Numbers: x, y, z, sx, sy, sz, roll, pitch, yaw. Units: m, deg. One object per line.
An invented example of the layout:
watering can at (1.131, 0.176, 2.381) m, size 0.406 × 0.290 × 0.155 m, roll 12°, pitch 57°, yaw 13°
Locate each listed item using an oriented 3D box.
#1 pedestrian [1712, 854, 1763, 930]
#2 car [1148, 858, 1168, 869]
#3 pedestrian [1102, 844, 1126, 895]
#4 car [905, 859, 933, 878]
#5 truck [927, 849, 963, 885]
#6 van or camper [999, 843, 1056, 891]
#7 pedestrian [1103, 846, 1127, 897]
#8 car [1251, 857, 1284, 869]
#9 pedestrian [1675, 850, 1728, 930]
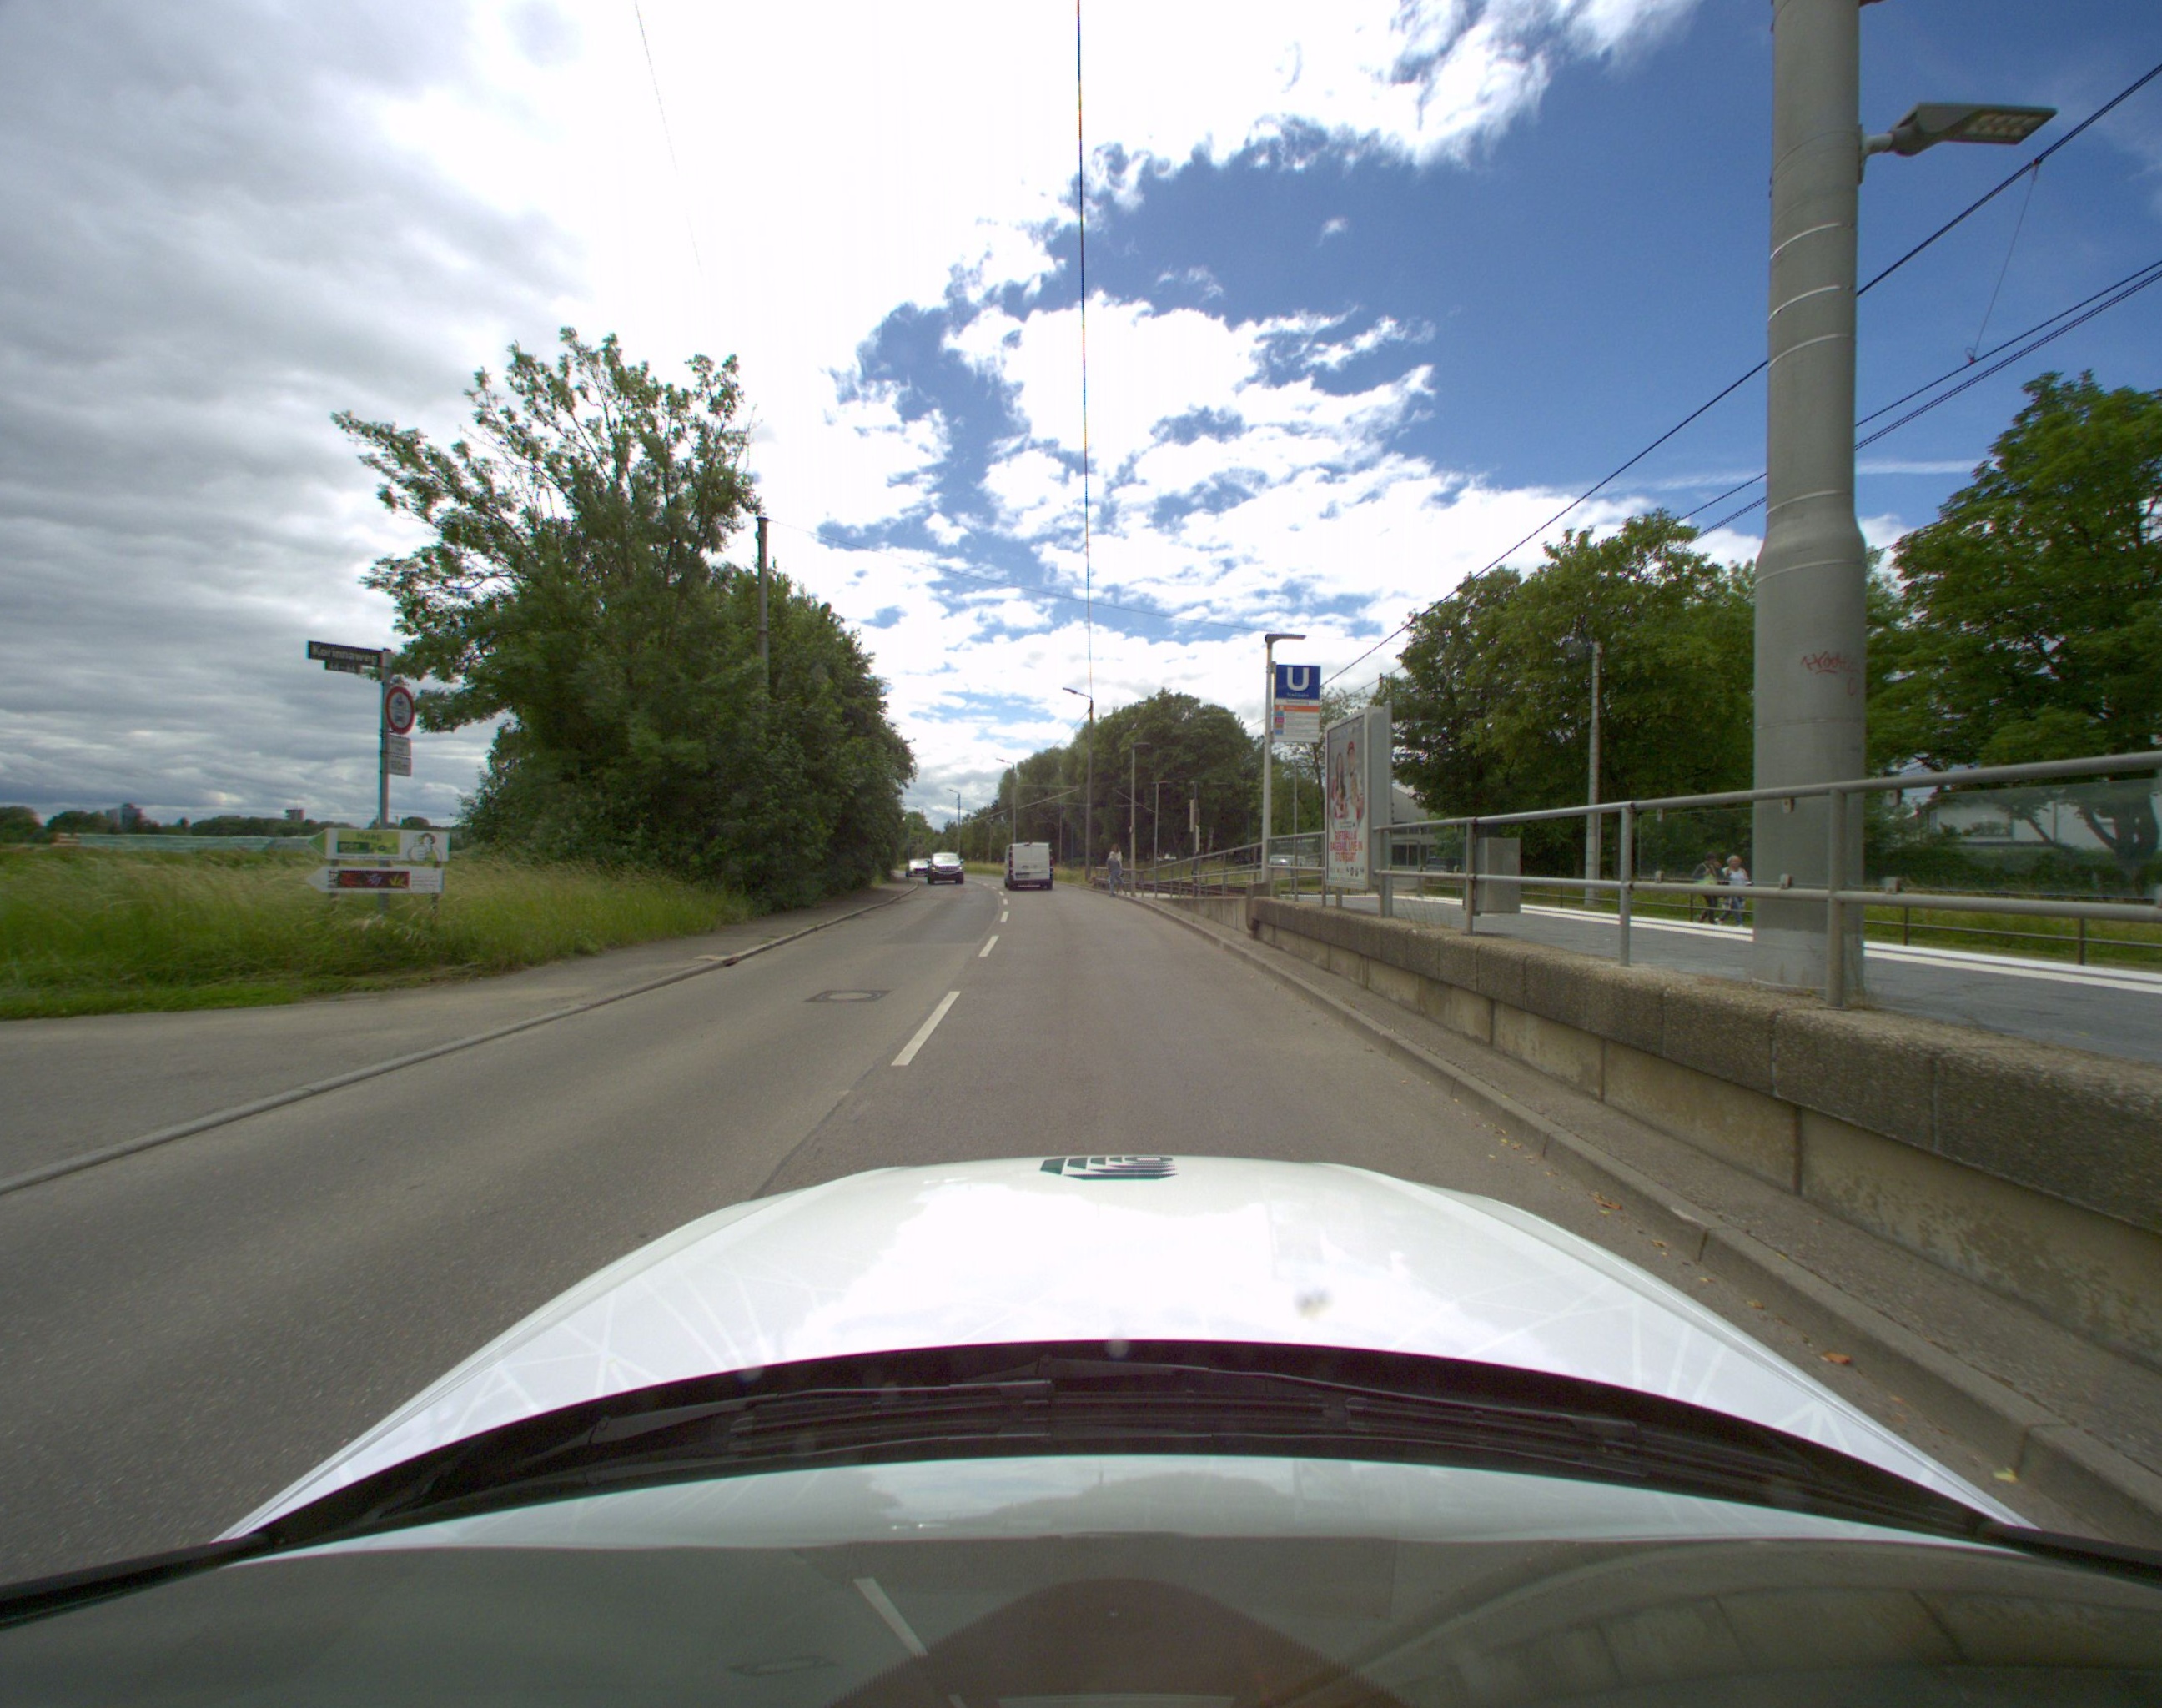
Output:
pedestrian at (13.765, 0.783, 17.092) m, size 0.491 × 1.561 × 0.692 m, roll 1°, pitch -1°, yaw -3°
car at (12.484, 1.599, 131.928) m, size 1.998 × 1.700 × 3.978 m, roll 1°, pitch -1°, yaw -16°
pedestrian at (1.188, 0.571, 29.437) m, size 0.662 × 1.840 × 0.591 m, roll 2°, pitch -3°, yaw -29°
car at (-14.219, 1.252, 71.319) m, size 1.935 × 1.522 × 4.631 m, roll -2°, pitch 0°, yaw -18°
truck at (-7.843, 0.756, 47.300) m, size 1.846 × 1.966 × 4.945 m, roll 0°, pitch 0°, yaw -7°
van or camper at (-2.367, 0.548, 35.154) m, size 1.943 × 1.897 × 4.268 m, roll -1°, pitch -1°, yaw -11°
pedestrian at (1.173, 0.613, 28.178) m, size 0.477 × 1.729 × 0.792 m, roll 2°, pitch -3°, yaw -30°
car at (22.943, 1.171, 100.266) m, size 1.999 × 1.443 × 4.319 m, roll 0°, pitch -1°, yaw -18°
pedestrian at (12.943, 0.734, 17.003) m, size 0.491 × 1.622 × 0.789 m, roll 1°, pitch -1°, yaw -3°
